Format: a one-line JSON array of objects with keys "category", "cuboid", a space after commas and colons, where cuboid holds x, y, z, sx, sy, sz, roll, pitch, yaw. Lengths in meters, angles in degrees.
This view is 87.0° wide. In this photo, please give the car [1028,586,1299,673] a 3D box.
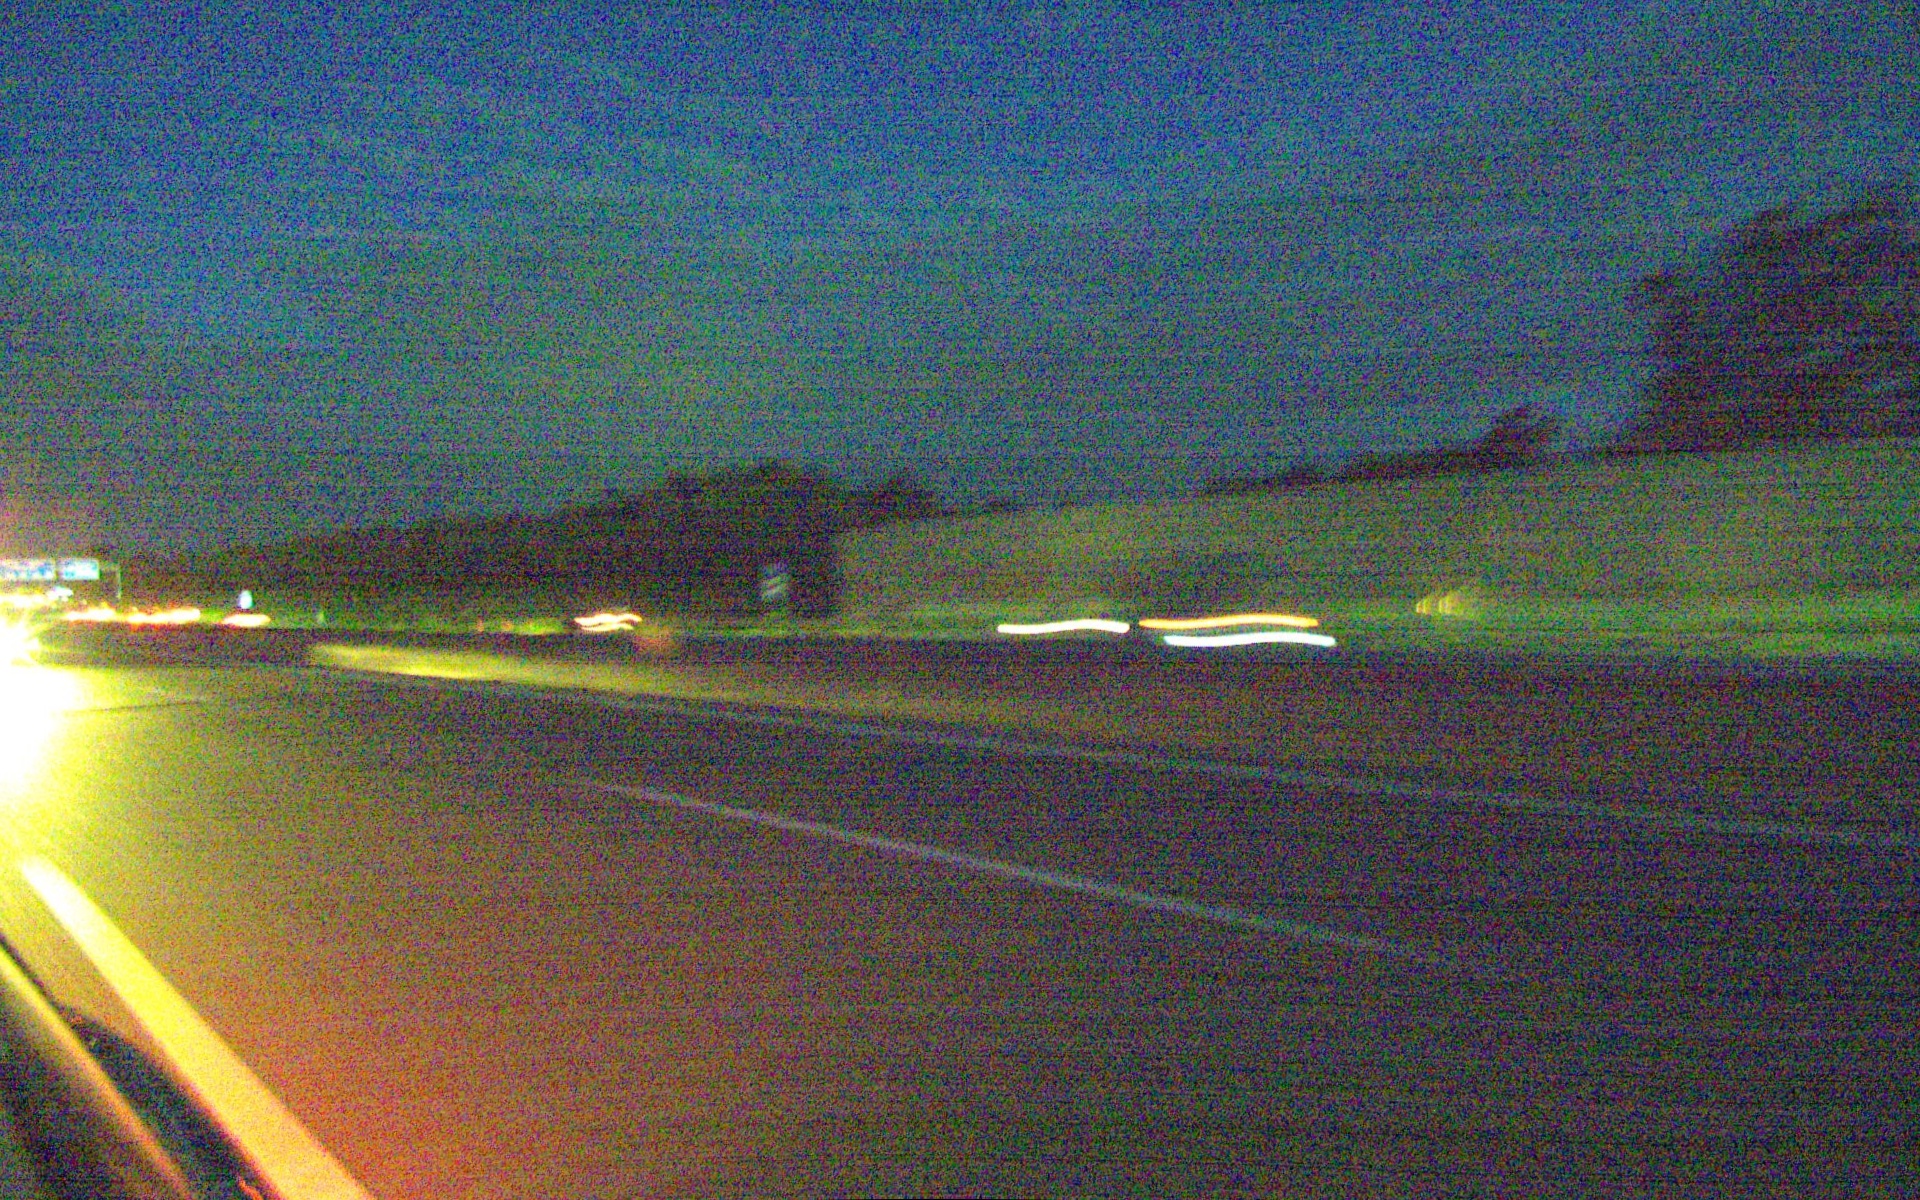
[{"category": "car", "cuboid": [4.076, 0.572, 20.850, 5.105, 1.567, 2.097, -2, 0, 41]}]

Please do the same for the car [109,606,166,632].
[{"category": "car", "cuboid": [-57.039, 1.330, 70.172, 5.623, 1.734, 2.097, -2, 0, 41]}]

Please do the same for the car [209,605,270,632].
[{"category": "car", "cuboid": [-47.596, 1.248, 66.828, 5.105, 1.710, 2.097, -2, 0, 41]}]

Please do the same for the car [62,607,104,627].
[{"category": "car", "cuboid": [-79.910, 1.593, 92.153, 5.623, 1.734, 2.097, -2, 0, 41]}]

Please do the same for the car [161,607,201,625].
[{"category": "car", "cuboid": [-76.901, 1.579, 99.822, 5.188, 1.734, 2.097, -1, 0, 41]}]

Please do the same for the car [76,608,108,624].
[{"category": "car", "cuboid": [-100.491, 1.835, 117.107, 5.625, 1.734, 2.096, -2, 0, 42]}]

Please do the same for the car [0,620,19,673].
[{"category": "car", "cuboid": [-30.061, 1.423, 30.398, 5.646, 1.530, 1.973, -2, 0, 40]}]

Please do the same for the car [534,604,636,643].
[{"category": "car", "cuboid": [-16.605, 1.037, 44.670, 5.108, 1.567, 2.096, -2, 0, 43]}]
